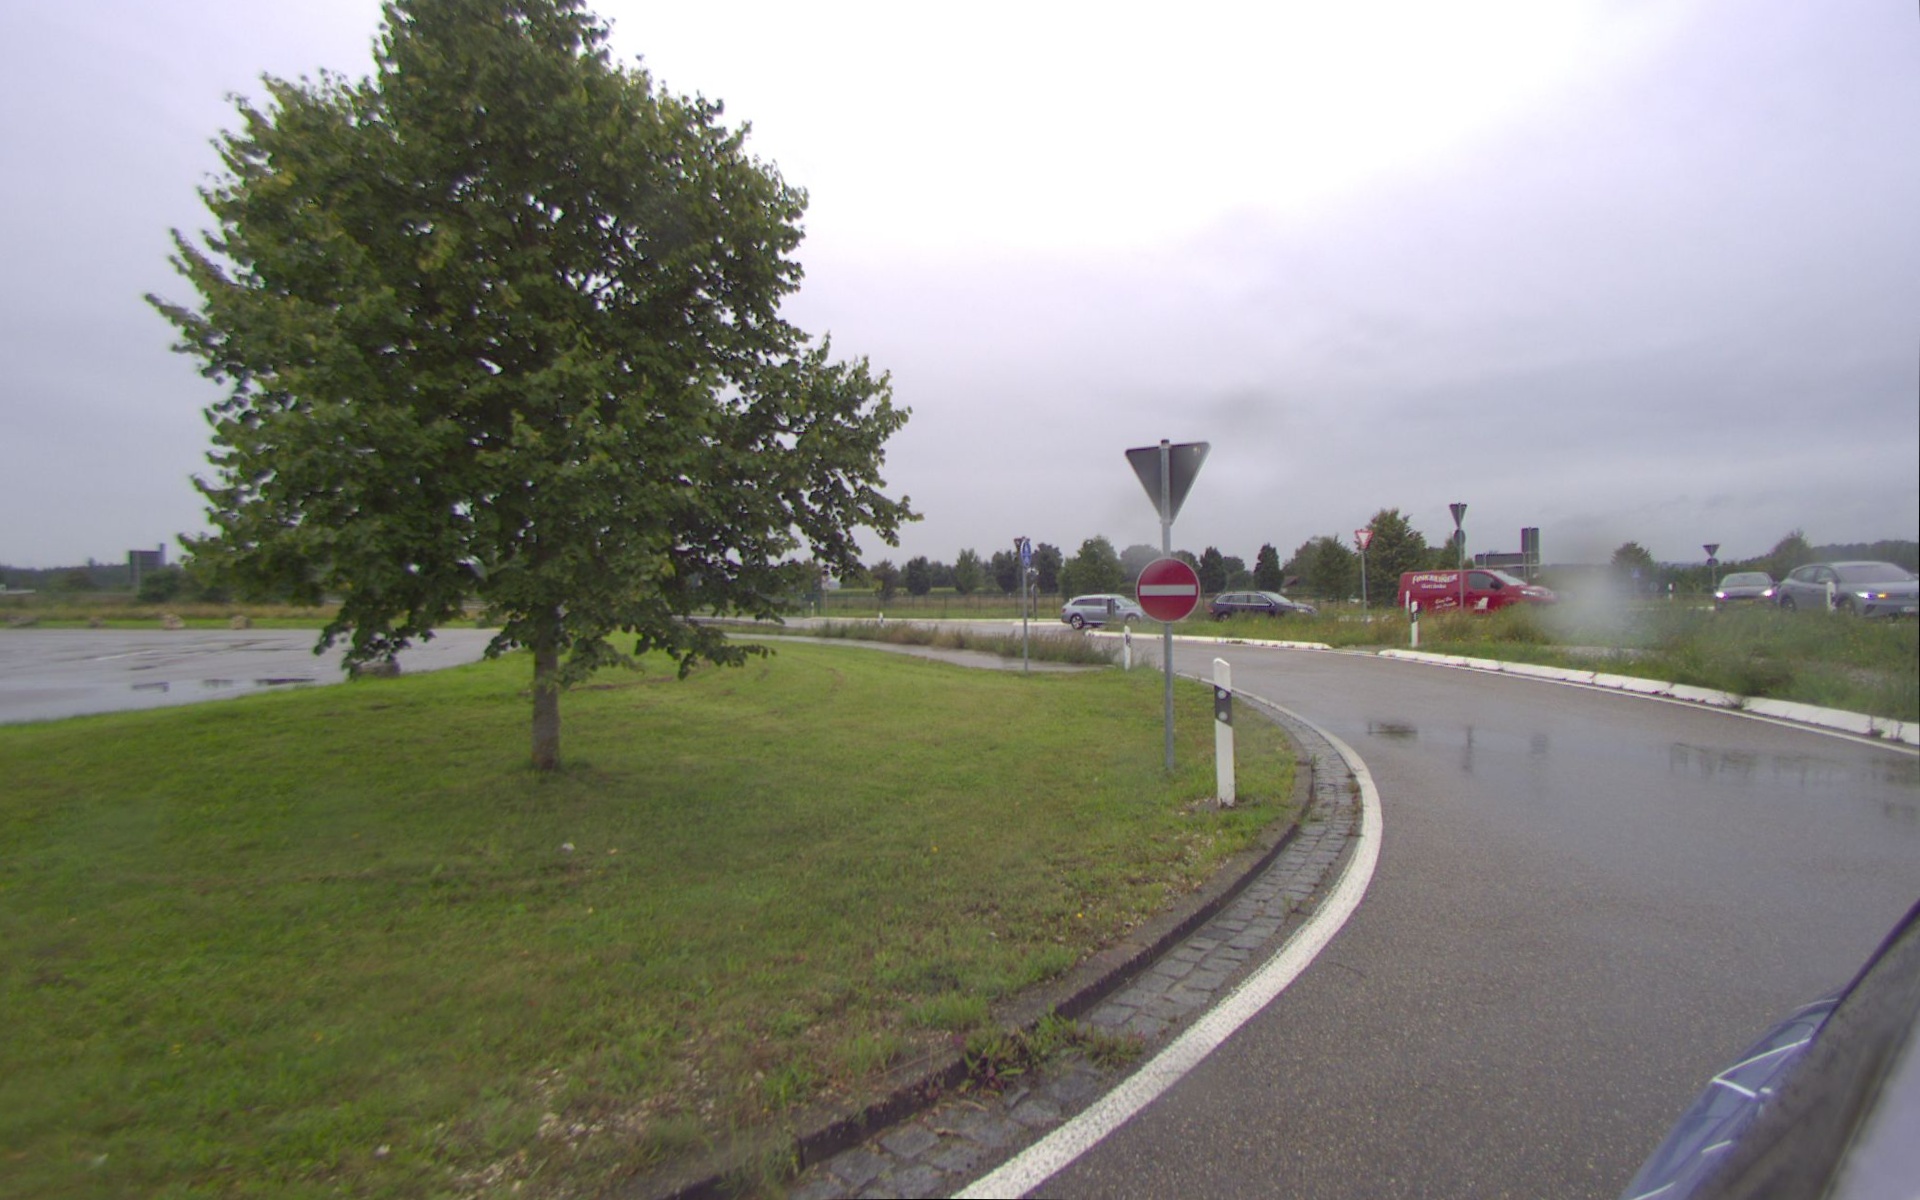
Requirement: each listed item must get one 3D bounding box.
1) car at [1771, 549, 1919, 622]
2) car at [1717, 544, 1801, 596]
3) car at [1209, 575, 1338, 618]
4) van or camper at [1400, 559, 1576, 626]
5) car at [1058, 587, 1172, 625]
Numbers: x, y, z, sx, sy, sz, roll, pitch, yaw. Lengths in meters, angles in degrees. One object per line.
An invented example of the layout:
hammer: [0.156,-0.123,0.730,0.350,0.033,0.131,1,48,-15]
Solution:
car: [22.055,-0.402,24.570,1.971,1.594,4.481,-2,1,15]
car: [28.383,-1.082,35.925,3.937,1.610,1.821,-4,0,-45]
car: [12.420,-0.106,40.210,4.504,1.623,1.970,-1,-1,41]
van or camper: [17.745,-0.232,34.201,1.966,2.038,4.840,-4,2,-40]
car: [6.817,0.253,44.755,4.638,1.500,1.973,0,2,39]
